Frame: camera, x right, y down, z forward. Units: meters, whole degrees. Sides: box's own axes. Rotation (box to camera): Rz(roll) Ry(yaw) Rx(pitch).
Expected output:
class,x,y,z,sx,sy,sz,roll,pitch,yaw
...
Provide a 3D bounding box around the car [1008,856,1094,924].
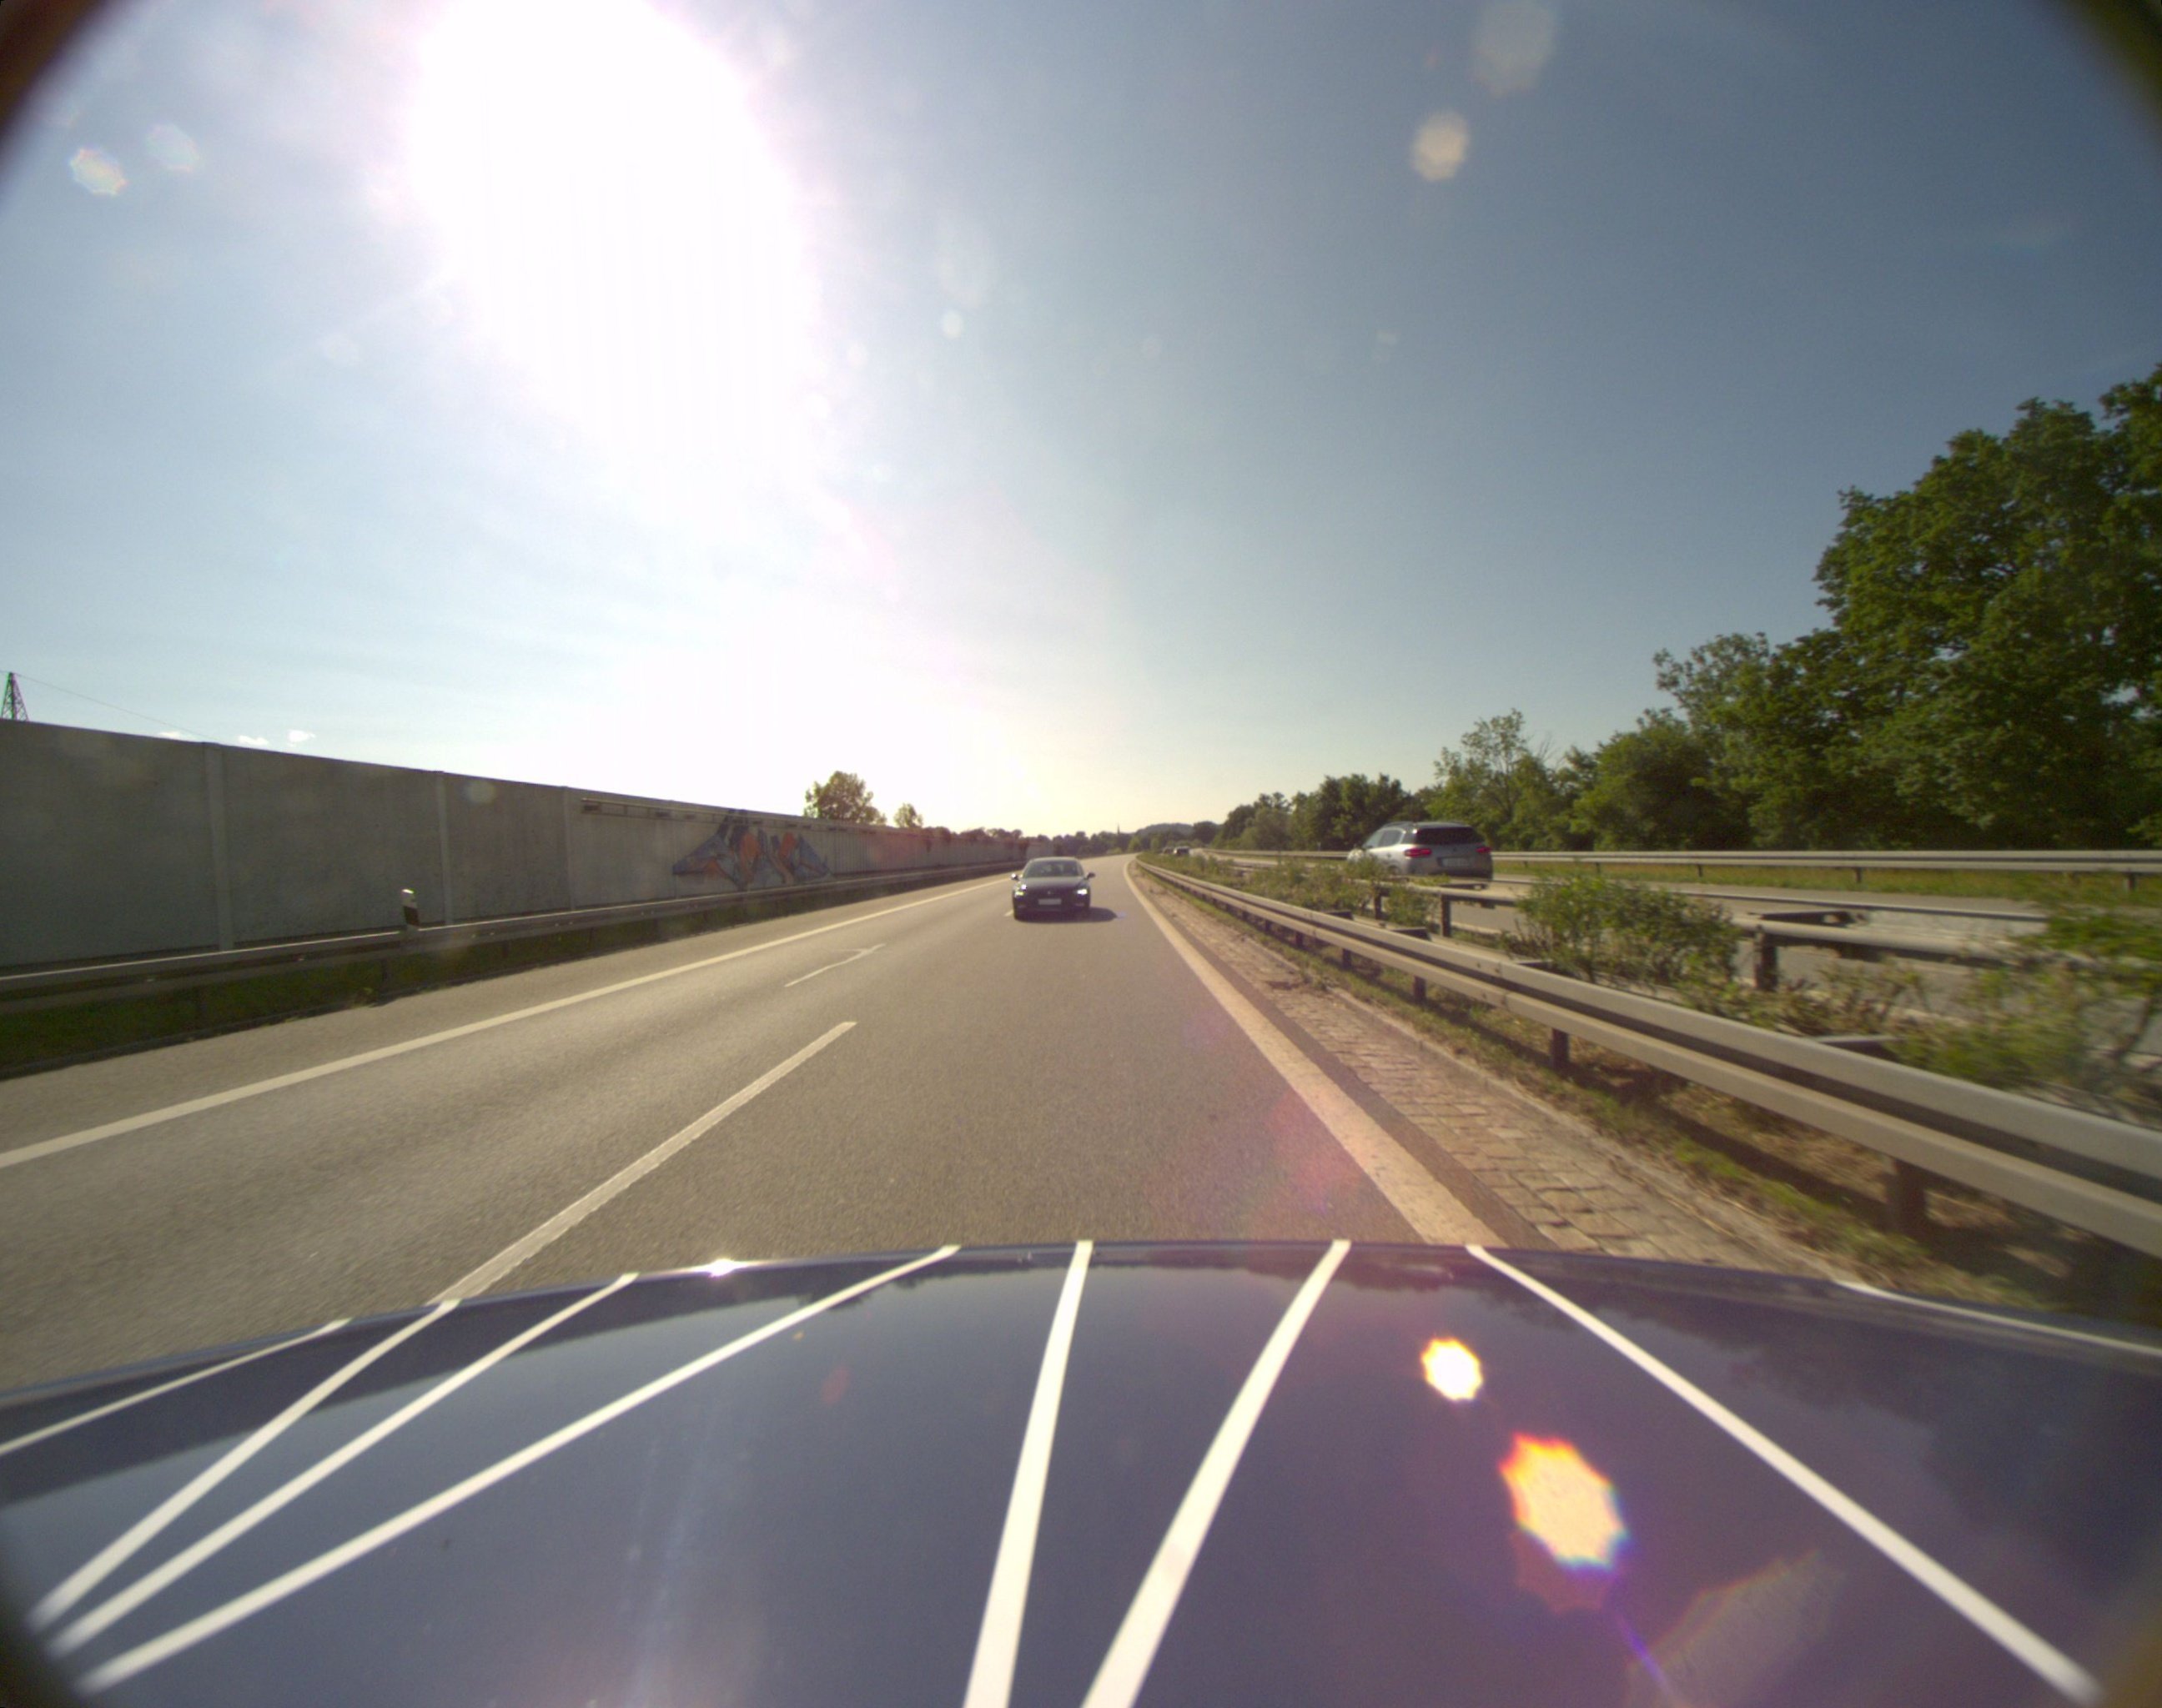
class,x,y,z,sx,sy,sz,roll,pitch,yaw
car,-0.642,0.814,19.414,1.722,1.392,4.413,-2,1,3

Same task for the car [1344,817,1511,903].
class,x,y,z,sx,sy,sz,roll,pitch,yaw
car,7.253,0.102,16.387,1.847,1.597,4.000,-1,1,1

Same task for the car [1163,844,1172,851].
class,x,y,z,sx,sy,sz,roll,pitch,yaw
car,19.298,-1.393,170.369,1.935,1.496,4.795,0,0,6

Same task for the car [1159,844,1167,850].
class,x,y,z,sx,sy,sz,roll,pitch,yaw
car,21.840,-1.809,202.783,1.935,1.496,4.794,0,0,4

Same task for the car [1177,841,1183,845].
class,x,y,z,sx,sy,sz,roll,pitch,yaw
car,33.800,-3.767,259.312,1.824,1.426,4.652,-2,0,8

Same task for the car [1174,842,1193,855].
class,x,y,z,sx,sy,sz,roll,pitch,yaw
car,11.400,-0.634,84.889,1.663,1.442,4.247,0,0,1
